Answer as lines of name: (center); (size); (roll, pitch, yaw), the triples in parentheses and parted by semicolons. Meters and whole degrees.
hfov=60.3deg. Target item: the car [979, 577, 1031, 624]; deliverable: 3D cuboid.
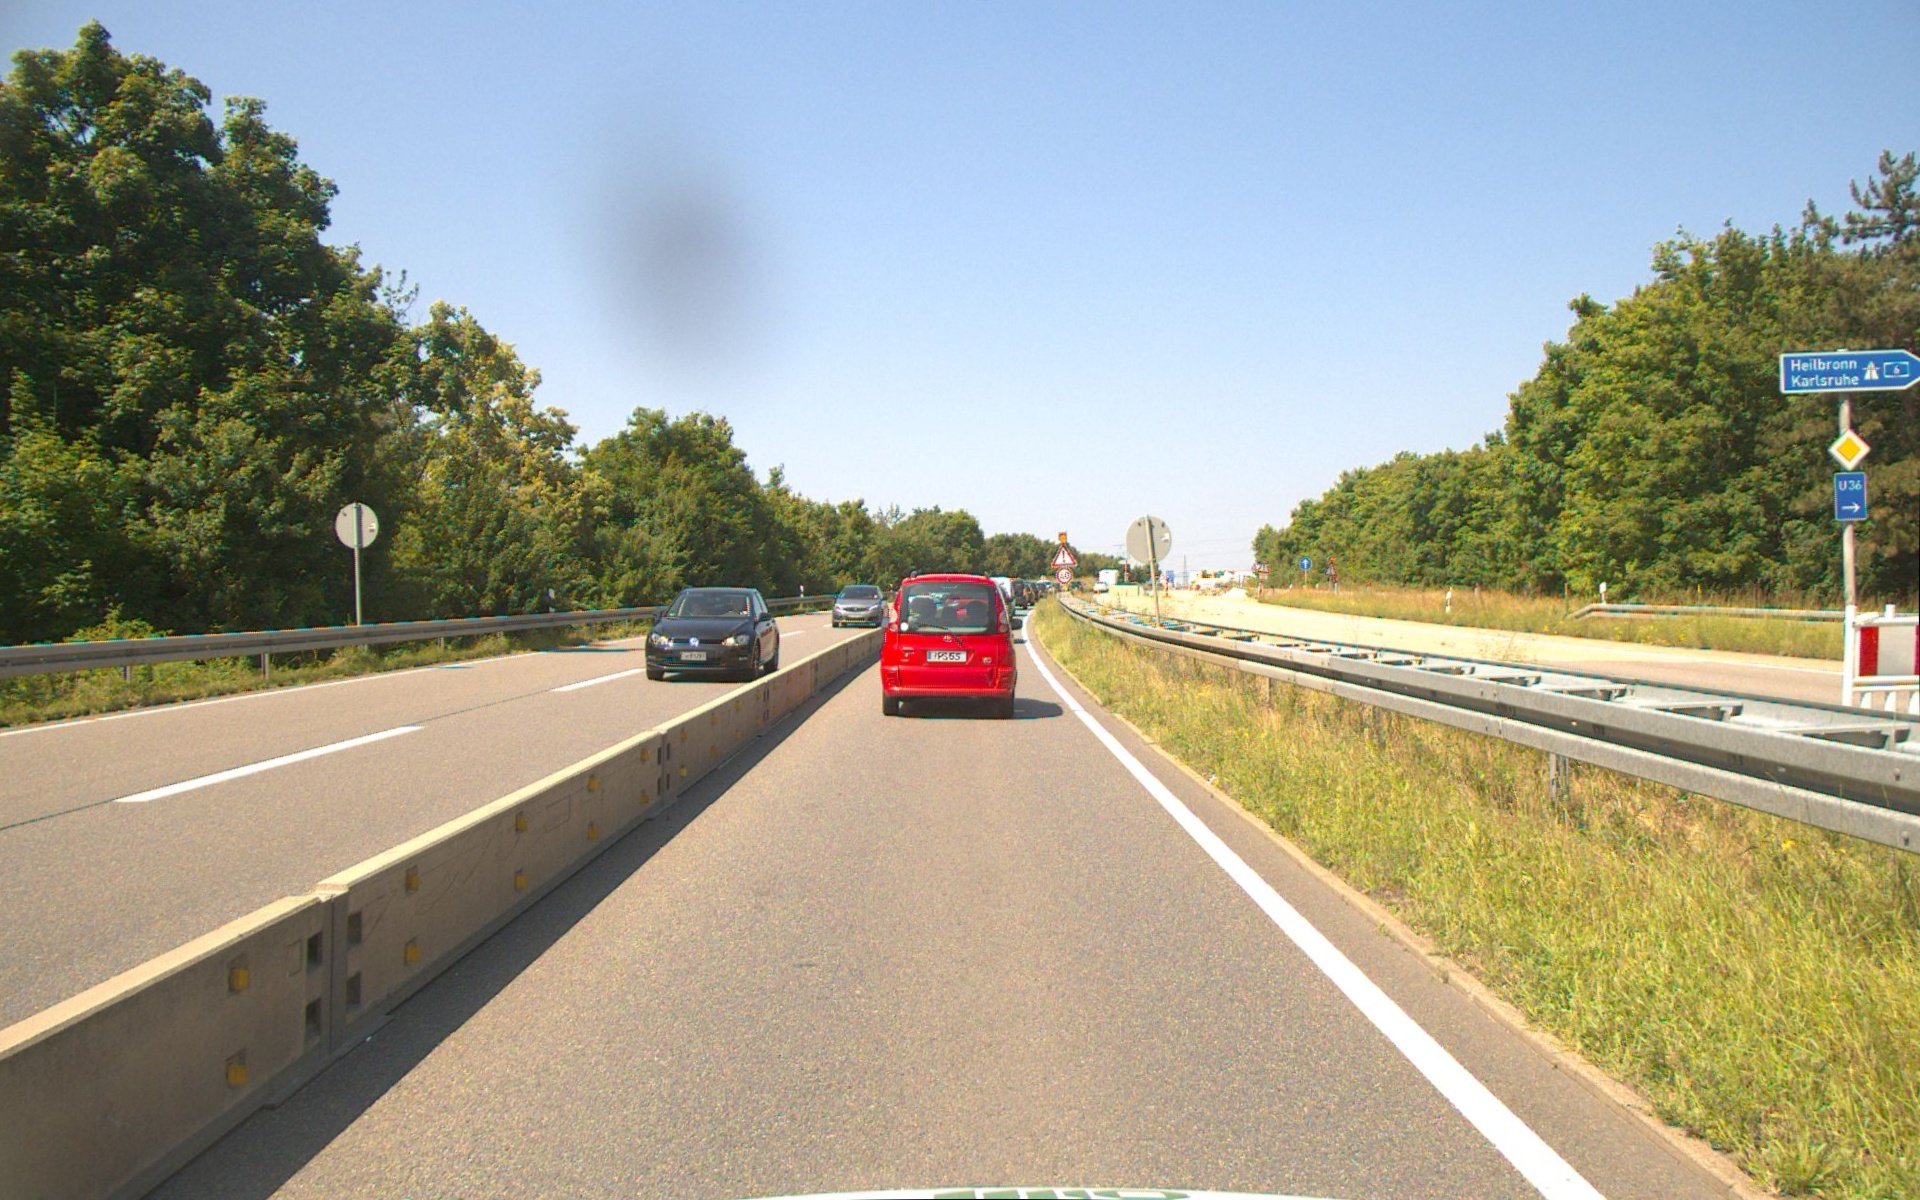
car: (1.834, 0.016, 68.568); (1.953, 1.870, 3.999); (0, 0, -2)

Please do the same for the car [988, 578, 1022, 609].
car: (2.655, -0.383, 98.339); (1.952, 1.780, 4.000); (0, 1, 1)

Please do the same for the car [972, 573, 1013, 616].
car: (1.608, -0.287, 81.132); (1.952, 2.038, 4.001); (0, 0, 1)

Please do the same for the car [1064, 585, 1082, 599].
car: (12.890, -0.954, 188.779); (1.952, 1.579, 4.002); (1, 0, 4)

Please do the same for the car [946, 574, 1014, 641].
car: (0.505, 0.178, 45.769); (1.793, 1.752, 3.999); (0, 0, -1)

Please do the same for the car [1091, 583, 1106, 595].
car: (18.655, -1.454, 222.675); (1.952, 1.512, 4.002); (0, 0, 3)

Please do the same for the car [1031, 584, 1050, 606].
car: (6.707, -0.420, 138.370); (1.470, 1.767, 3.172); (1, 0, 4)

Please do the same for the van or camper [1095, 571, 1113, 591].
van or camper: (20.460, -2.713, 234.743); (2.279, 2.754, 4.594); (0, 0, 2)

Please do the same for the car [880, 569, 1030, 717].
car: (-0.077, 0.481, 21.051); (1.716, 1.702, 4.000); (0, 0, -1)

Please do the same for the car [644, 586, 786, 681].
car: (-3.971, 0.503, 27.403); (1.778, 1.449, 4.108); (0, 0, -1)

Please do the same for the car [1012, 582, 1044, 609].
car: (4.587, -0.294, 112.352); (1.953, 1.814, 3.999); (0, 0, -1)

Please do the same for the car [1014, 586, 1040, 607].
car: (5.108, -0.275, 126.865); (1.952, 1.612, 4.001); (0, 0, 1)

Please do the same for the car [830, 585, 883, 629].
car: (-3.665, 0.236, 59.156); (1.690, 1.522, 4.387); (0, 0, -1)

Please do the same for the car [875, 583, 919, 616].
car: (-3.032, -0.051, 80.626); (1.908, 1.565, 4.436); (0, 0, 1)
